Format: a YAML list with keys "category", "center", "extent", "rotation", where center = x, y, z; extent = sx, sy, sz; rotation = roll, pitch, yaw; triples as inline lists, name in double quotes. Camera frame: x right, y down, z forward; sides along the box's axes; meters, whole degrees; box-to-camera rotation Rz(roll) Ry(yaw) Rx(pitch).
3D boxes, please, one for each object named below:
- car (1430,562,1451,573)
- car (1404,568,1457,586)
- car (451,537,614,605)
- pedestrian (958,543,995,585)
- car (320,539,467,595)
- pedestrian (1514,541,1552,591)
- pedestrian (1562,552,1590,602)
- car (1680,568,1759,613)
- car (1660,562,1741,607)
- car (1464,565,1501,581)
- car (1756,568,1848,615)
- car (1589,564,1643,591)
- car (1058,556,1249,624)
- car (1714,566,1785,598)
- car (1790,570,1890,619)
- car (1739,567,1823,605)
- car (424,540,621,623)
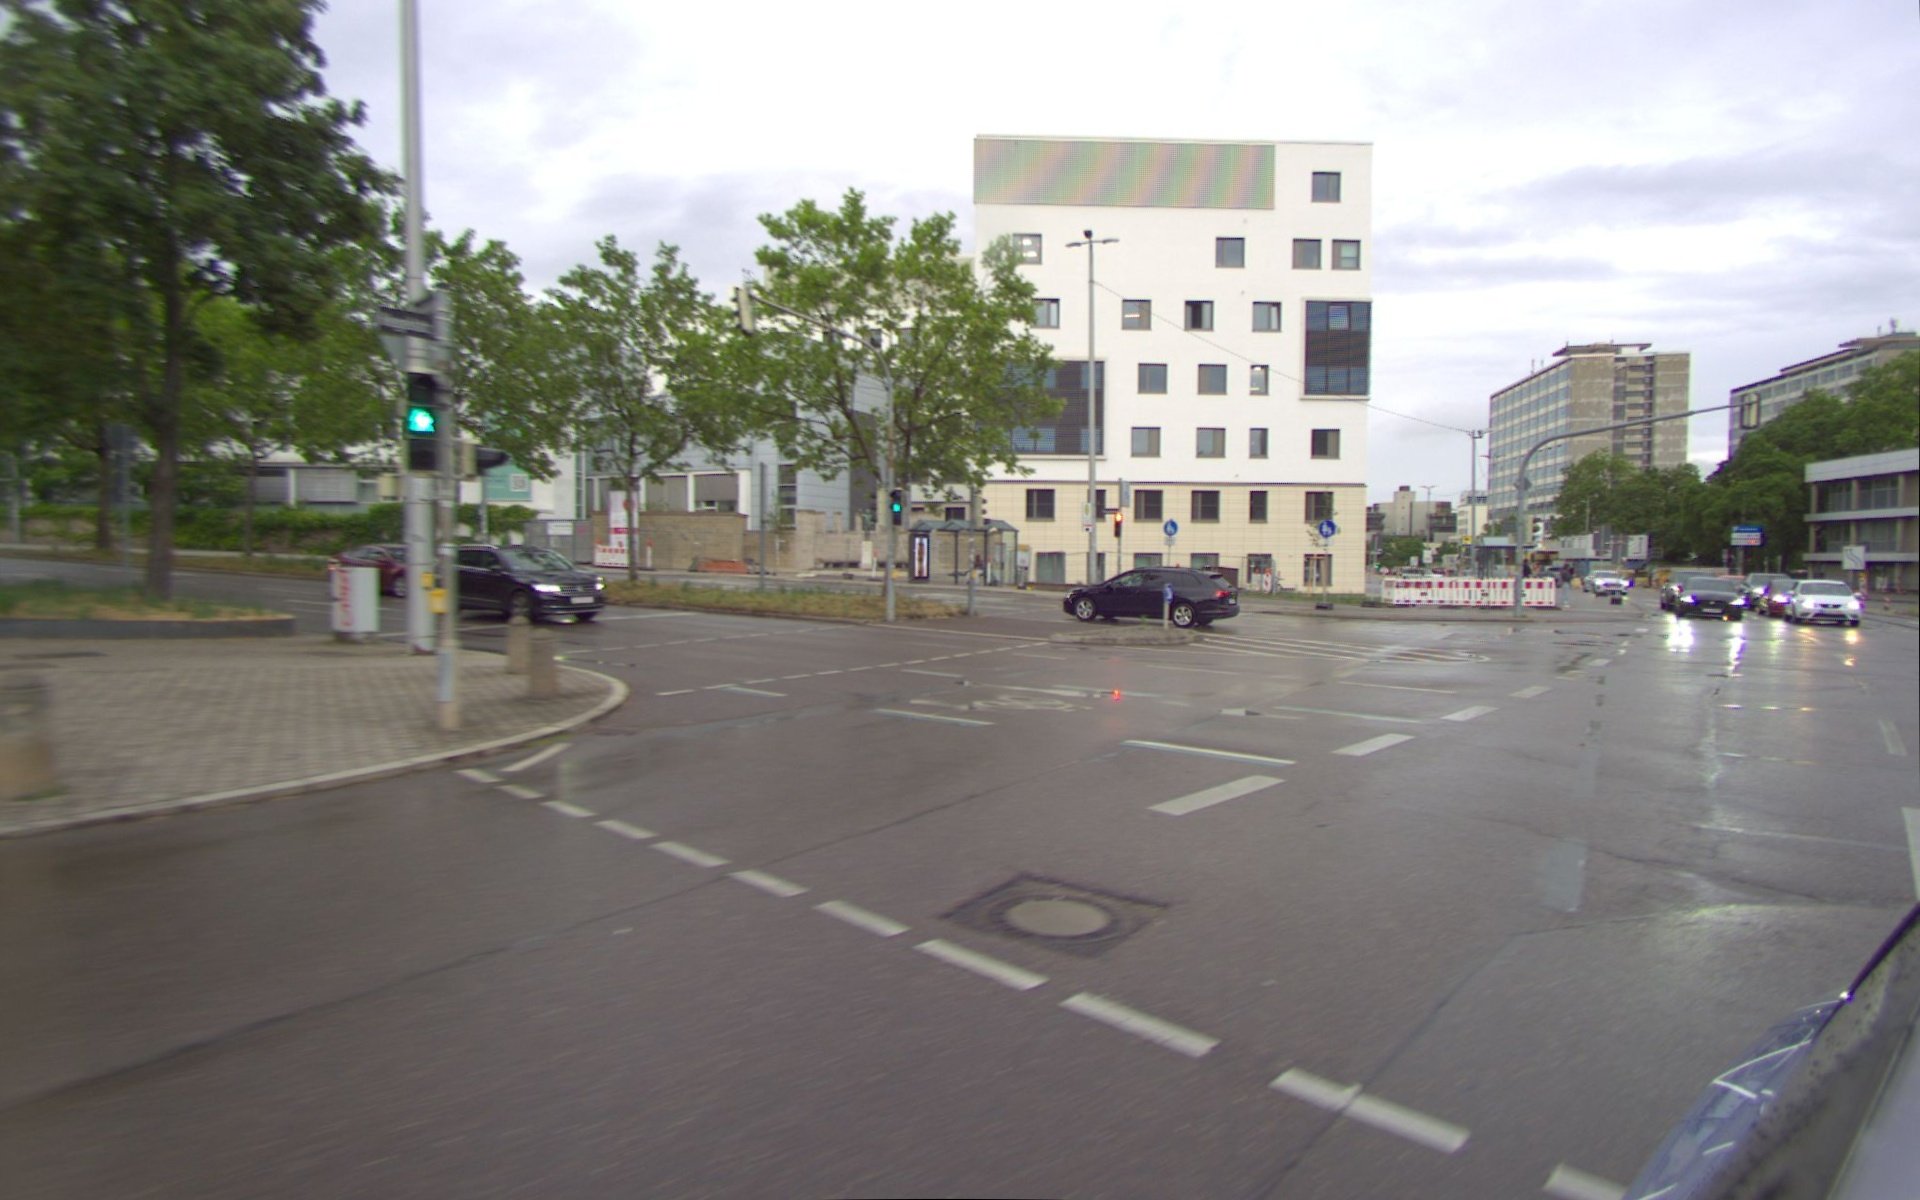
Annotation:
- category: "car"
  center: [74.480, -5.063, 156.886]
  extent: [1.770, 1.726, 4.674]
  rotation: [2, 3, 11]
- category: "car"
  center: [44.285, -2.156, 95.384]
  extent: [1.930, 1.576, 4.062]
  rotation: [1, 2, -37]
- category: "car"
  center: [-11.192, -0.794, 26.481]
  extent: [3.959, 1.604, 1.780]
  rotation: [2, 3, 25]
- category: "pedestrian"
  center: [0.719, -1.524, 43.325]
  extent: [1.013, 1.741, 1.241]
  rotation: [1, 0, 45]
- category: "car"
  center: [-16.421, -0.988, 29.314]
  extent: [3.959, 1.459, 1.780]
  rotation: [2, 3, 25]
- category: "pedestrian"
  center: [23.068, -1.364, 40.758]
  extent: [0.986, 1.960, 0.954]
  rotation: [1, 0, -34]
- category: "pedestrian"
  center: [23.285, -0.852, 38.254]
  extent: [0.818, 1.863, 0.942]
  rotation: [1, 0, 35]
- category: "car"
  center: [26.679, -0.327, 35.664]
  extent: [1.784, 1.461, 3.955]
  rotation: [3, 1, 32]
- category: "car"
  center: [30.155, -0.673, 41.360]
  extent: [1.982, 1.685, 4.346]
  rotation: [2, 3, 28]
- category: "car"
  center: [48.882, -2.587, 94.779]
  extent: [1.969, 1.395, 4.373]
  rotation: [2, 2, 12]
- category: "car"
  center: [32.090, -0.389, 38.704]
  extent: [1.951, 1.576, 4.481]
  rotation: [3, 3, 31]
- category: "car"
  center: [44.526, -1.487, 68.778]
  extent: [1.941, 1.722, 4.135]
  rotation: [2, 1, 18]
- category: "car"
  center: [4.897, -0.304, 25.813]
  extent: [4.475, 1.484, 1.658]
  rotation: [3, 3, 30]
- category: "car"
  center: [39.350, -0.869, 50.534]
  extent: [1.948, 1.468, 4.121]
  rotation: [2, 1, 27]
- category: "car"
  center: [28.855, -0.209, 33.308]
  extent: [1.784, 1.461, 3.955]
  rotation: [3, 2, 32]
- category: "car"
  center: [36.021, -0.635, 44.541]
  extent: [1.948, 1.556, 4.121]
  rotation: [2, 2, 27]
- category: "car"
  center: [-9.717, -0.480, 22.425]
  extent: [4.240, 1.583, 1.855]
  rotation: [3, 4, 30]
